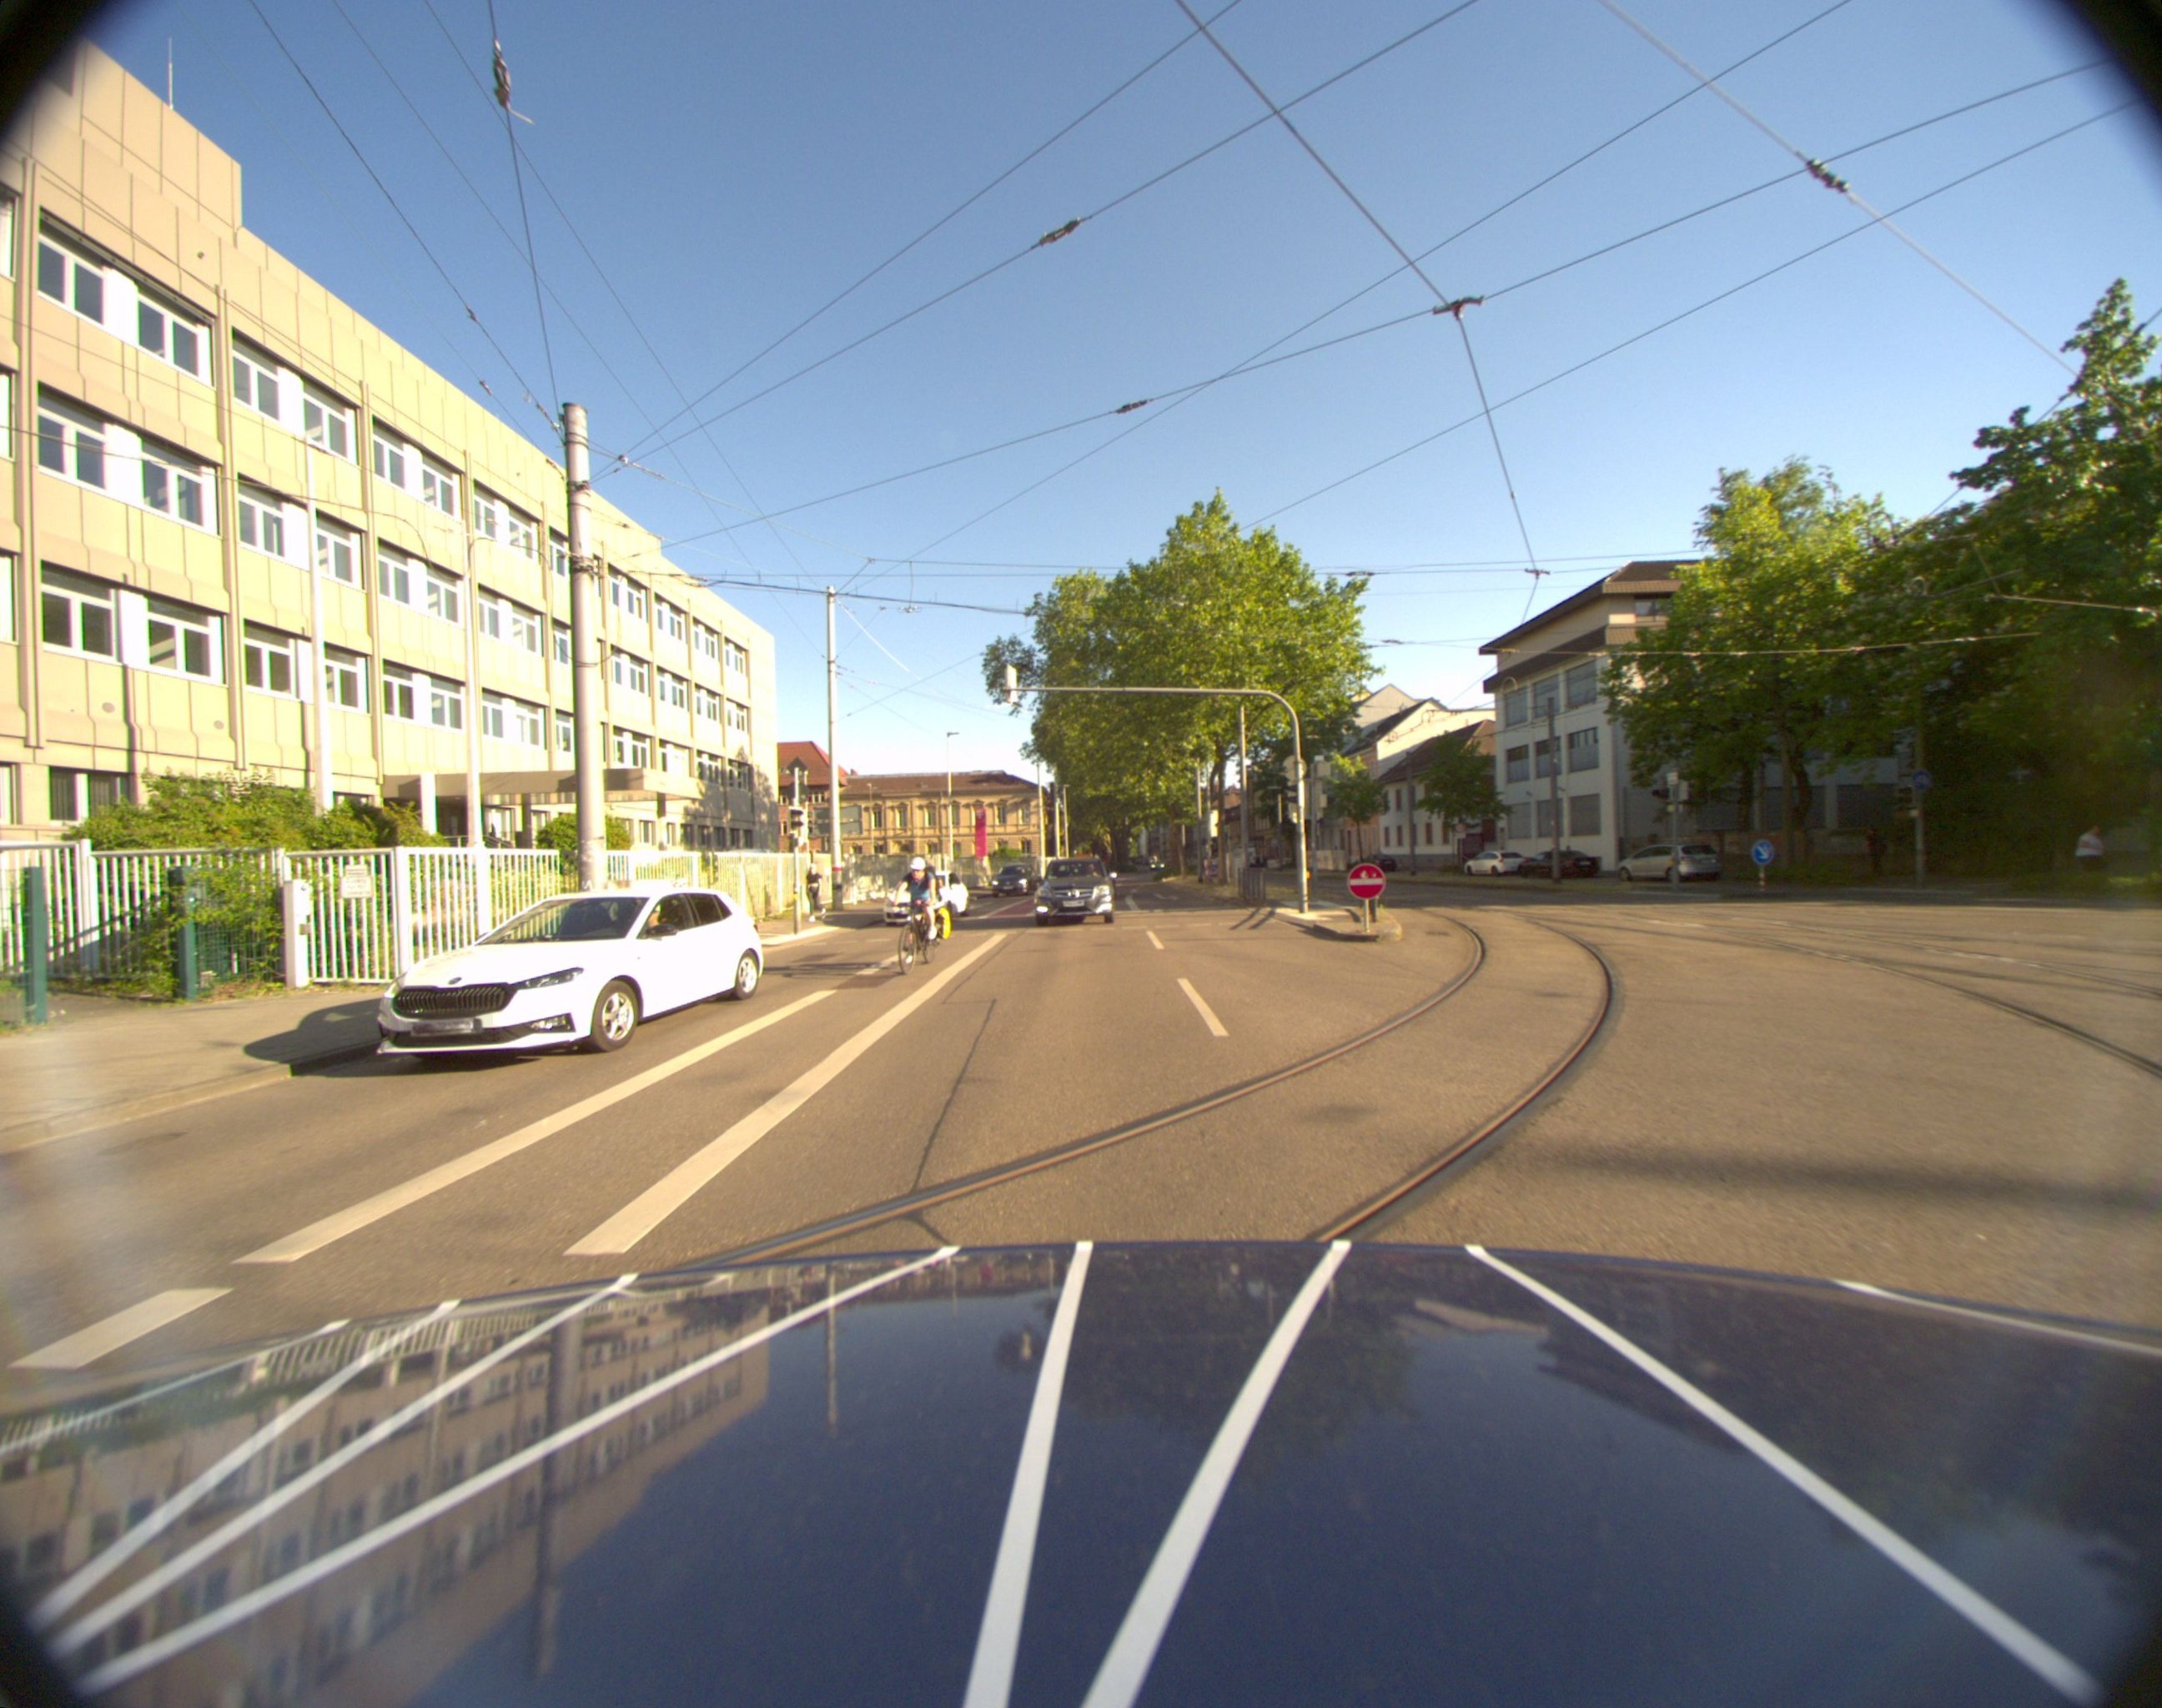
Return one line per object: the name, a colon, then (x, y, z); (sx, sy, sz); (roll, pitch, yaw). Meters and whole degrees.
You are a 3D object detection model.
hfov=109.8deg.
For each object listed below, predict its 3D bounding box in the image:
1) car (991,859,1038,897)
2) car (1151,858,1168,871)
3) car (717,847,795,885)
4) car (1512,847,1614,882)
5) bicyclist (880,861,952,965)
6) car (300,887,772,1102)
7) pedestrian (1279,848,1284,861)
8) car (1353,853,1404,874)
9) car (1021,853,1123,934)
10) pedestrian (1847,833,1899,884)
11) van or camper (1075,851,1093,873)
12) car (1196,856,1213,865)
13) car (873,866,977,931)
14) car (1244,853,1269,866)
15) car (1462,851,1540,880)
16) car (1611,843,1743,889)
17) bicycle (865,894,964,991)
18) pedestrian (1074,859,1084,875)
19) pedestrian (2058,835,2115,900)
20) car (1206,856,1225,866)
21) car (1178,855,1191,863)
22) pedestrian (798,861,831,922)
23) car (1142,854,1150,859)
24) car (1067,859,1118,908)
car: (-3.272, 1.153, 38.025); (1.793, 1.633, 4.301); (-4, 0, 1)
car: (11.332, 1.544, 110.089); (1.998, 1.761, 4.000); (-3, 0, 0)
car: (-17.285, 0.616, 40.676); (1.998, 1.831, 4.785); (-1, 0, 1)
car: (24.161, 0.503, 38.329); (2.087, 1.493, 4.456); (-4, 0, -2)
bicyclist: (-2.378, 0.833, 11.042); (0.727, 1.413, 0.859); (-3, 0, 4)
car: (-4.904, 1.145, 7.711); (1.705, 1.381, 4.075); (-3, 0, 2)
pedestrian: (27.043, 0.084, 102.397); (0.560, 1.798, 0.706); (-1, 0, 19)
car: (23.819, 0.738, 61.006); (2.087, 1.461, 4.578); (-4, 0, -2)
car: (-0.083, 0.872, 18.945); (1.907, 1.634, 4.518); (-4, 0, 6)
pedestrian: (27.780, 0.152, 26.660); (0.736, 1.742, 1.019); (-1, 0, -2)
van or camper: (0.397, 0.936, 92.730); (1.998, 2.578, 5.626); (-3, 0, 1)
car: (22.435, 1.220, 138.370); (2.087, 1.531, 5.104); (-4, 0, -2)
car: (-4.395, 1.197, 22.067); (1.793, 1.493, 4.302); (-4, 0, 3)
car: (23.599, 0.736, 102.286); (2.087, 1.663, 4.532); (-4, 0, -2)
car: (24.262, 0.641, 44.080); (2.087, 1.481, 3.996); (-4, 0, -2)
car: (24.580, 0.483, 31.554); (2.087, 1.610, 4.097); (-4, 0, -2)
bicycle: (-2.360, 1.220, 11.096); (0.764, 1.137, 2.307); (-1, 0, 4)
pedestrian: (-0.162, 1.239, 71.427); (0.898, 1.464, 0.810); (-1, 0, 2)
pedestrian: (26.647, 0.351, 20.144); (0.569, 1.655, 0.631); (-4, 0, -2)
car: (22.133, 1.098, 125.264); (2.087, 1.531, 4.516); (-4, 0, -2)
car: (22.234, 1.119, 163.194); (2.087, 1.531, 4.255); (-4, 0, -2)
pedestrian: (-7.774, 1.085, 22.208); (0.592, 1.752, 0.770); (-1, 0, 5)
car: (21.606, 0.871, 251.547); (2.087, 1.531, 4.126); (-4, 0, -2)
car: (0.476, 1.107, 30.632); (1.793, 1.694, 4.301); (-4, 0, 1)
